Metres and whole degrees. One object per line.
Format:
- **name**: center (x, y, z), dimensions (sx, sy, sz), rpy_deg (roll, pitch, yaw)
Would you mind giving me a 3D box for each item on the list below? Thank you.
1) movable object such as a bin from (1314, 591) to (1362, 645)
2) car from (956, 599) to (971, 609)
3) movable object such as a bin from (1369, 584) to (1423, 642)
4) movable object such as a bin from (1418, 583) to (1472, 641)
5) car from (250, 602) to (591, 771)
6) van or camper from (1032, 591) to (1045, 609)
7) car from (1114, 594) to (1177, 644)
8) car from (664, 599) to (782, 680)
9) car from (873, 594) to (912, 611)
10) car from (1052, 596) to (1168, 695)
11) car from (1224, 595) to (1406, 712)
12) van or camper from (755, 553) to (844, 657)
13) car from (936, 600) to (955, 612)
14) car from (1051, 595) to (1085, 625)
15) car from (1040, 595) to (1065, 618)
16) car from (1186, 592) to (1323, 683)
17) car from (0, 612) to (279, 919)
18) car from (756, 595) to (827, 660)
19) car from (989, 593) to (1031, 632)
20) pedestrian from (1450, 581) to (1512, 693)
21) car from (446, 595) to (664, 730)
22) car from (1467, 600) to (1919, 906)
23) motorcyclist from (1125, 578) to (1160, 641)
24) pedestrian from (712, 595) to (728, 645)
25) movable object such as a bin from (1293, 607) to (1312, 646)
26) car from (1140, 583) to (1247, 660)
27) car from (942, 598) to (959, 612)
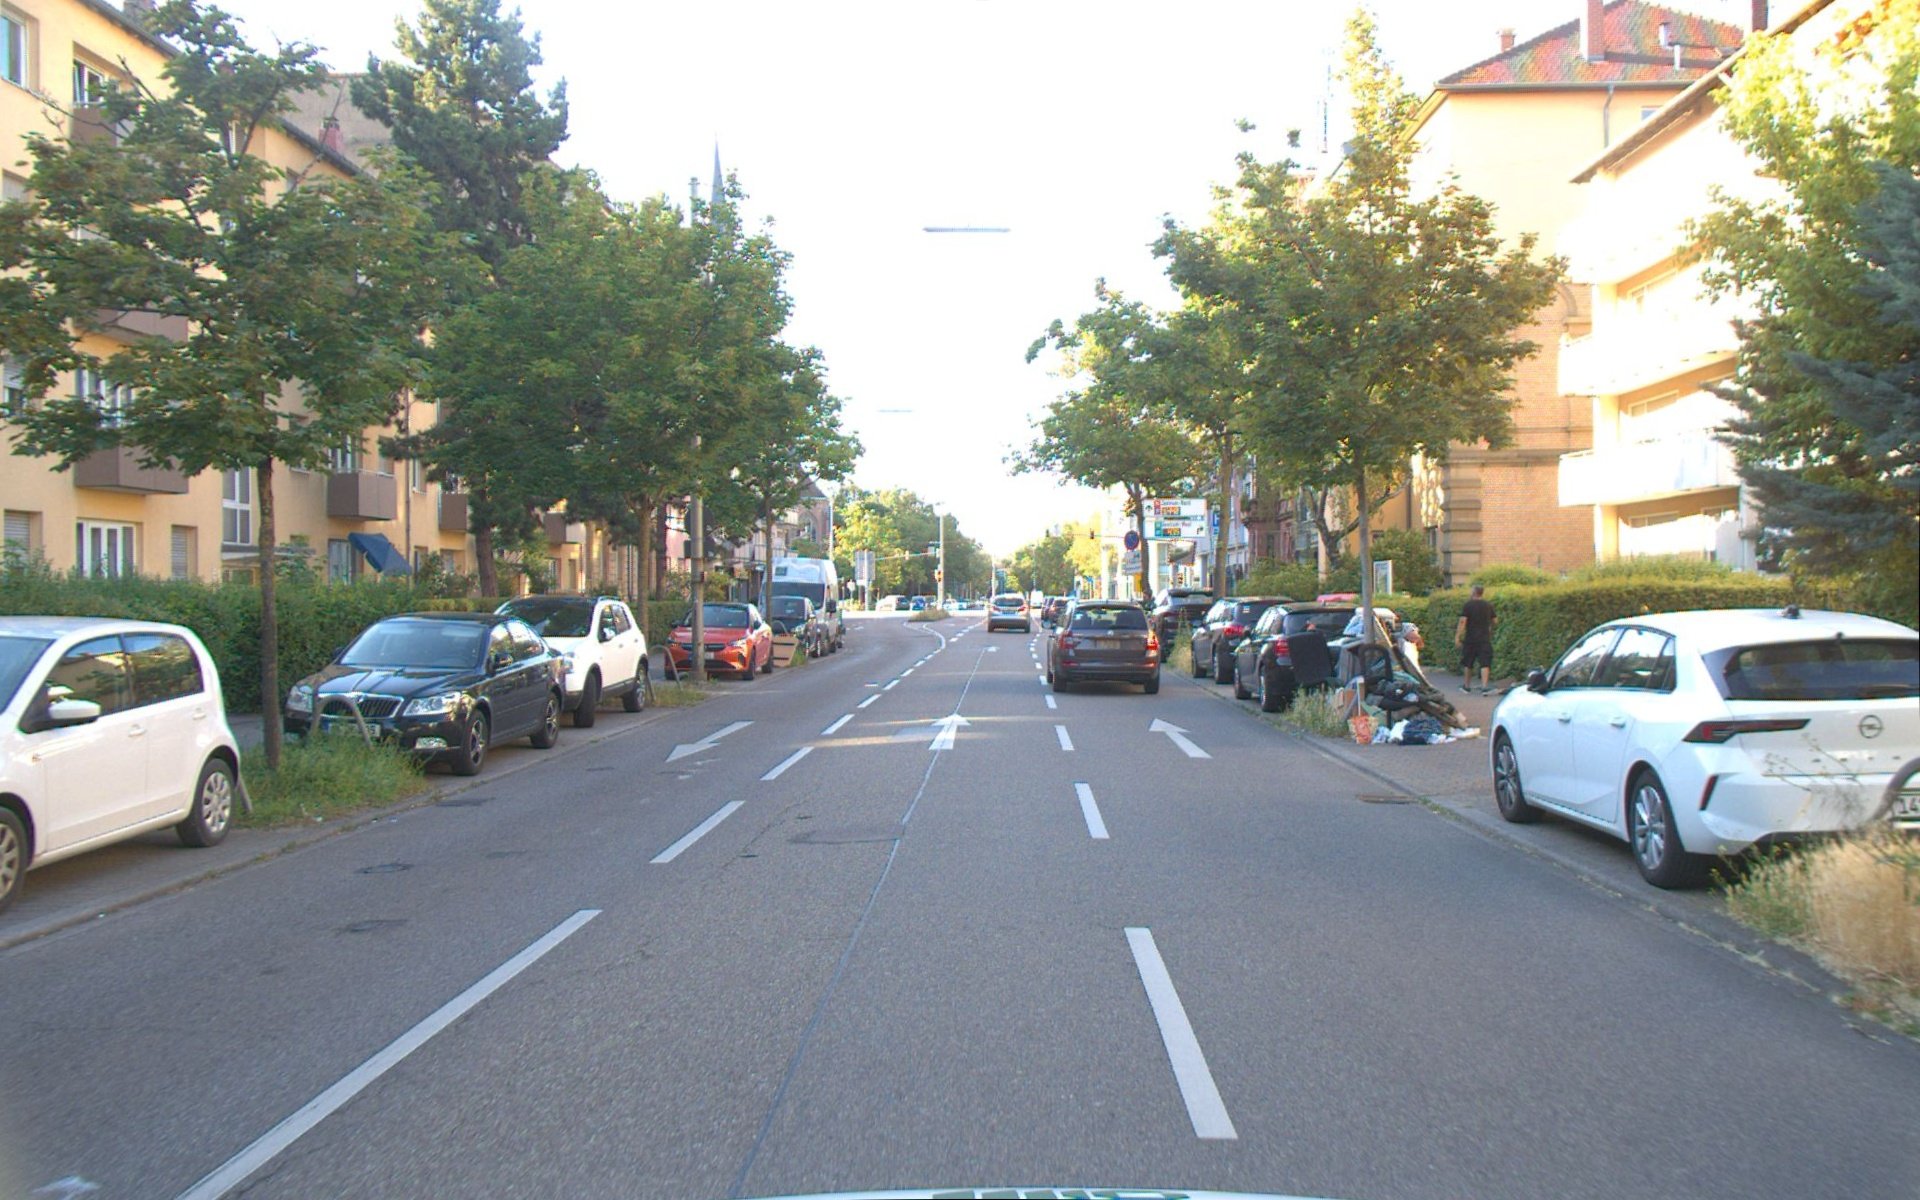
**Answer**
- **movable object such as a bin**: center (10.568, 0.495, 46.245), dimensions (1.226, 1.467, 0.995), rpy_deg (-1, 0, 16)
- **car**: center (0.492, 0.526, 220.567), dimensions (1.743, 1.258, 4.001), rpy_deg (0, 0, 2)
- **movable object such as a bin**: center (12.172, 0.358, 46.185), dimensions (1.133, 1.583, 0.993), rpy_deg (-1, 0, -8)
- **movable object such as a bin**: center (13.481, 0.324, 45.975), dimensions (1.133, 1.583, 0.993), rpy_deg (-1, 0, -8)
- **car**: center (-5.317, 0.779, 17.000), dimensions (1.952, 1.473, 4.459), rpy_deg (-1, 0, 1)
- **van or camper**: center (12.183, -0.056, 255.811), dimensions (1.952, 2.686, 5.353), rpy_deg (-1, 0, 3)
- **car**: center (6.173, 0.593, 55.456), dimensions (1.817, 1.539, 4.836), rpy_deg (-2, 0, 3)
- **car**: center (-4.645, 0.738, 32.934), dimensions (1.681, 1.477, 3.924), rpy_deg (0, 0, 1)
- **car**: center (-6.220, 0.206, 152.335), dimensions (3.274, 1.521, 1.622), rpy_deg (0, 0, 30)
- **car**: center (2.398, 0.692, 27.231), dimensions (1.672, 1.482, 4.159), rpy_deg (0, 0, 2)
- **car**: center (4.992, 0.687, 23.813), dimensions (1.733, 1.474, 4.485), rpy_deg (-1, 0, 1)
- **van or camper**: center (-4.504, 0.130, 47.315), dimensions (1.994, 2.710, 6.015), rpy_deg (1, 0, -1)
- **car**: center (-1.544, 0.661, 176.700), dimensions (1.743, 1.258, 4.001), rpy_deg (0, 0, 2)
- **car**: center (5.616, 0.488, 86.526), dimensions (1.616, 1.510, 4.240), rpy_deg (0, 0, 2)
- **car**: center (6.141, 0.435, 109.953), dimensions (1.552, 1.472, 3.648), rpy_deg (1, 0, 2)
- **car**: center (5.304, 0.627, 30.331), dimensions (1.681, 1.498, 4.431), rpy_deg (-1, 0, 0)
- **car**: center (-5.528, 0.834, 9.631), dimensions (1.558, 1.518, 3.642), rpy_deg (0, 0, 1)
- **car**: center (-4.282, 0.671, 42.358), dimensions (1.374, 1.575, 2.763), rpy_deg (1, 0, 3)
- **car**: center (2.079, 0.496, 68.354), dimensions (1.672, 1.536, 4.310), rpy_deg (0, 0, 2)
- **pedestrian**: center (7.814, 0.547, 24.823), dimensions (0.731, 1.644, 0.580), rpy_deg (-1, 0, 0)
- **car**: center (-5.252, 0.742, 21.997), dimensions (1.740, 1.616, 4.187), rpy_deg (0, 0, 2)
- **car**: center (4.607, 0.743, 10.177), dimensions (1.725, 1.426, 4.334), rpy_deg (-2, 0, 2)
- **motorcyclist**: center (5.266, 0.284, 47.770), dimensions (0.722, 1.809, 1.086), rpy_deg (0, -1, -10)
- **pedestrian**: center (-8.017, 0.668, 55.317), dimensions (0.470, 1.681, 0.724), rpy_deg (0, 0, -4)
- **movable object such as a bin**: center (9.560, 0.732, 46.177), dimensions (0.483, 1.077, 0.548), rpy_deg (-1, 0, 14)
- **car**: center (5.439, 0.473, 39.040), dimensions (1.907, 1.684, 4.796), rpy_deg (-1, 0, 1)
- **car**: center (-1.038, 0.516, 183.263), dimensions (1.743, 1.490, 4.001), rpy_deg (0, 0, 2)
